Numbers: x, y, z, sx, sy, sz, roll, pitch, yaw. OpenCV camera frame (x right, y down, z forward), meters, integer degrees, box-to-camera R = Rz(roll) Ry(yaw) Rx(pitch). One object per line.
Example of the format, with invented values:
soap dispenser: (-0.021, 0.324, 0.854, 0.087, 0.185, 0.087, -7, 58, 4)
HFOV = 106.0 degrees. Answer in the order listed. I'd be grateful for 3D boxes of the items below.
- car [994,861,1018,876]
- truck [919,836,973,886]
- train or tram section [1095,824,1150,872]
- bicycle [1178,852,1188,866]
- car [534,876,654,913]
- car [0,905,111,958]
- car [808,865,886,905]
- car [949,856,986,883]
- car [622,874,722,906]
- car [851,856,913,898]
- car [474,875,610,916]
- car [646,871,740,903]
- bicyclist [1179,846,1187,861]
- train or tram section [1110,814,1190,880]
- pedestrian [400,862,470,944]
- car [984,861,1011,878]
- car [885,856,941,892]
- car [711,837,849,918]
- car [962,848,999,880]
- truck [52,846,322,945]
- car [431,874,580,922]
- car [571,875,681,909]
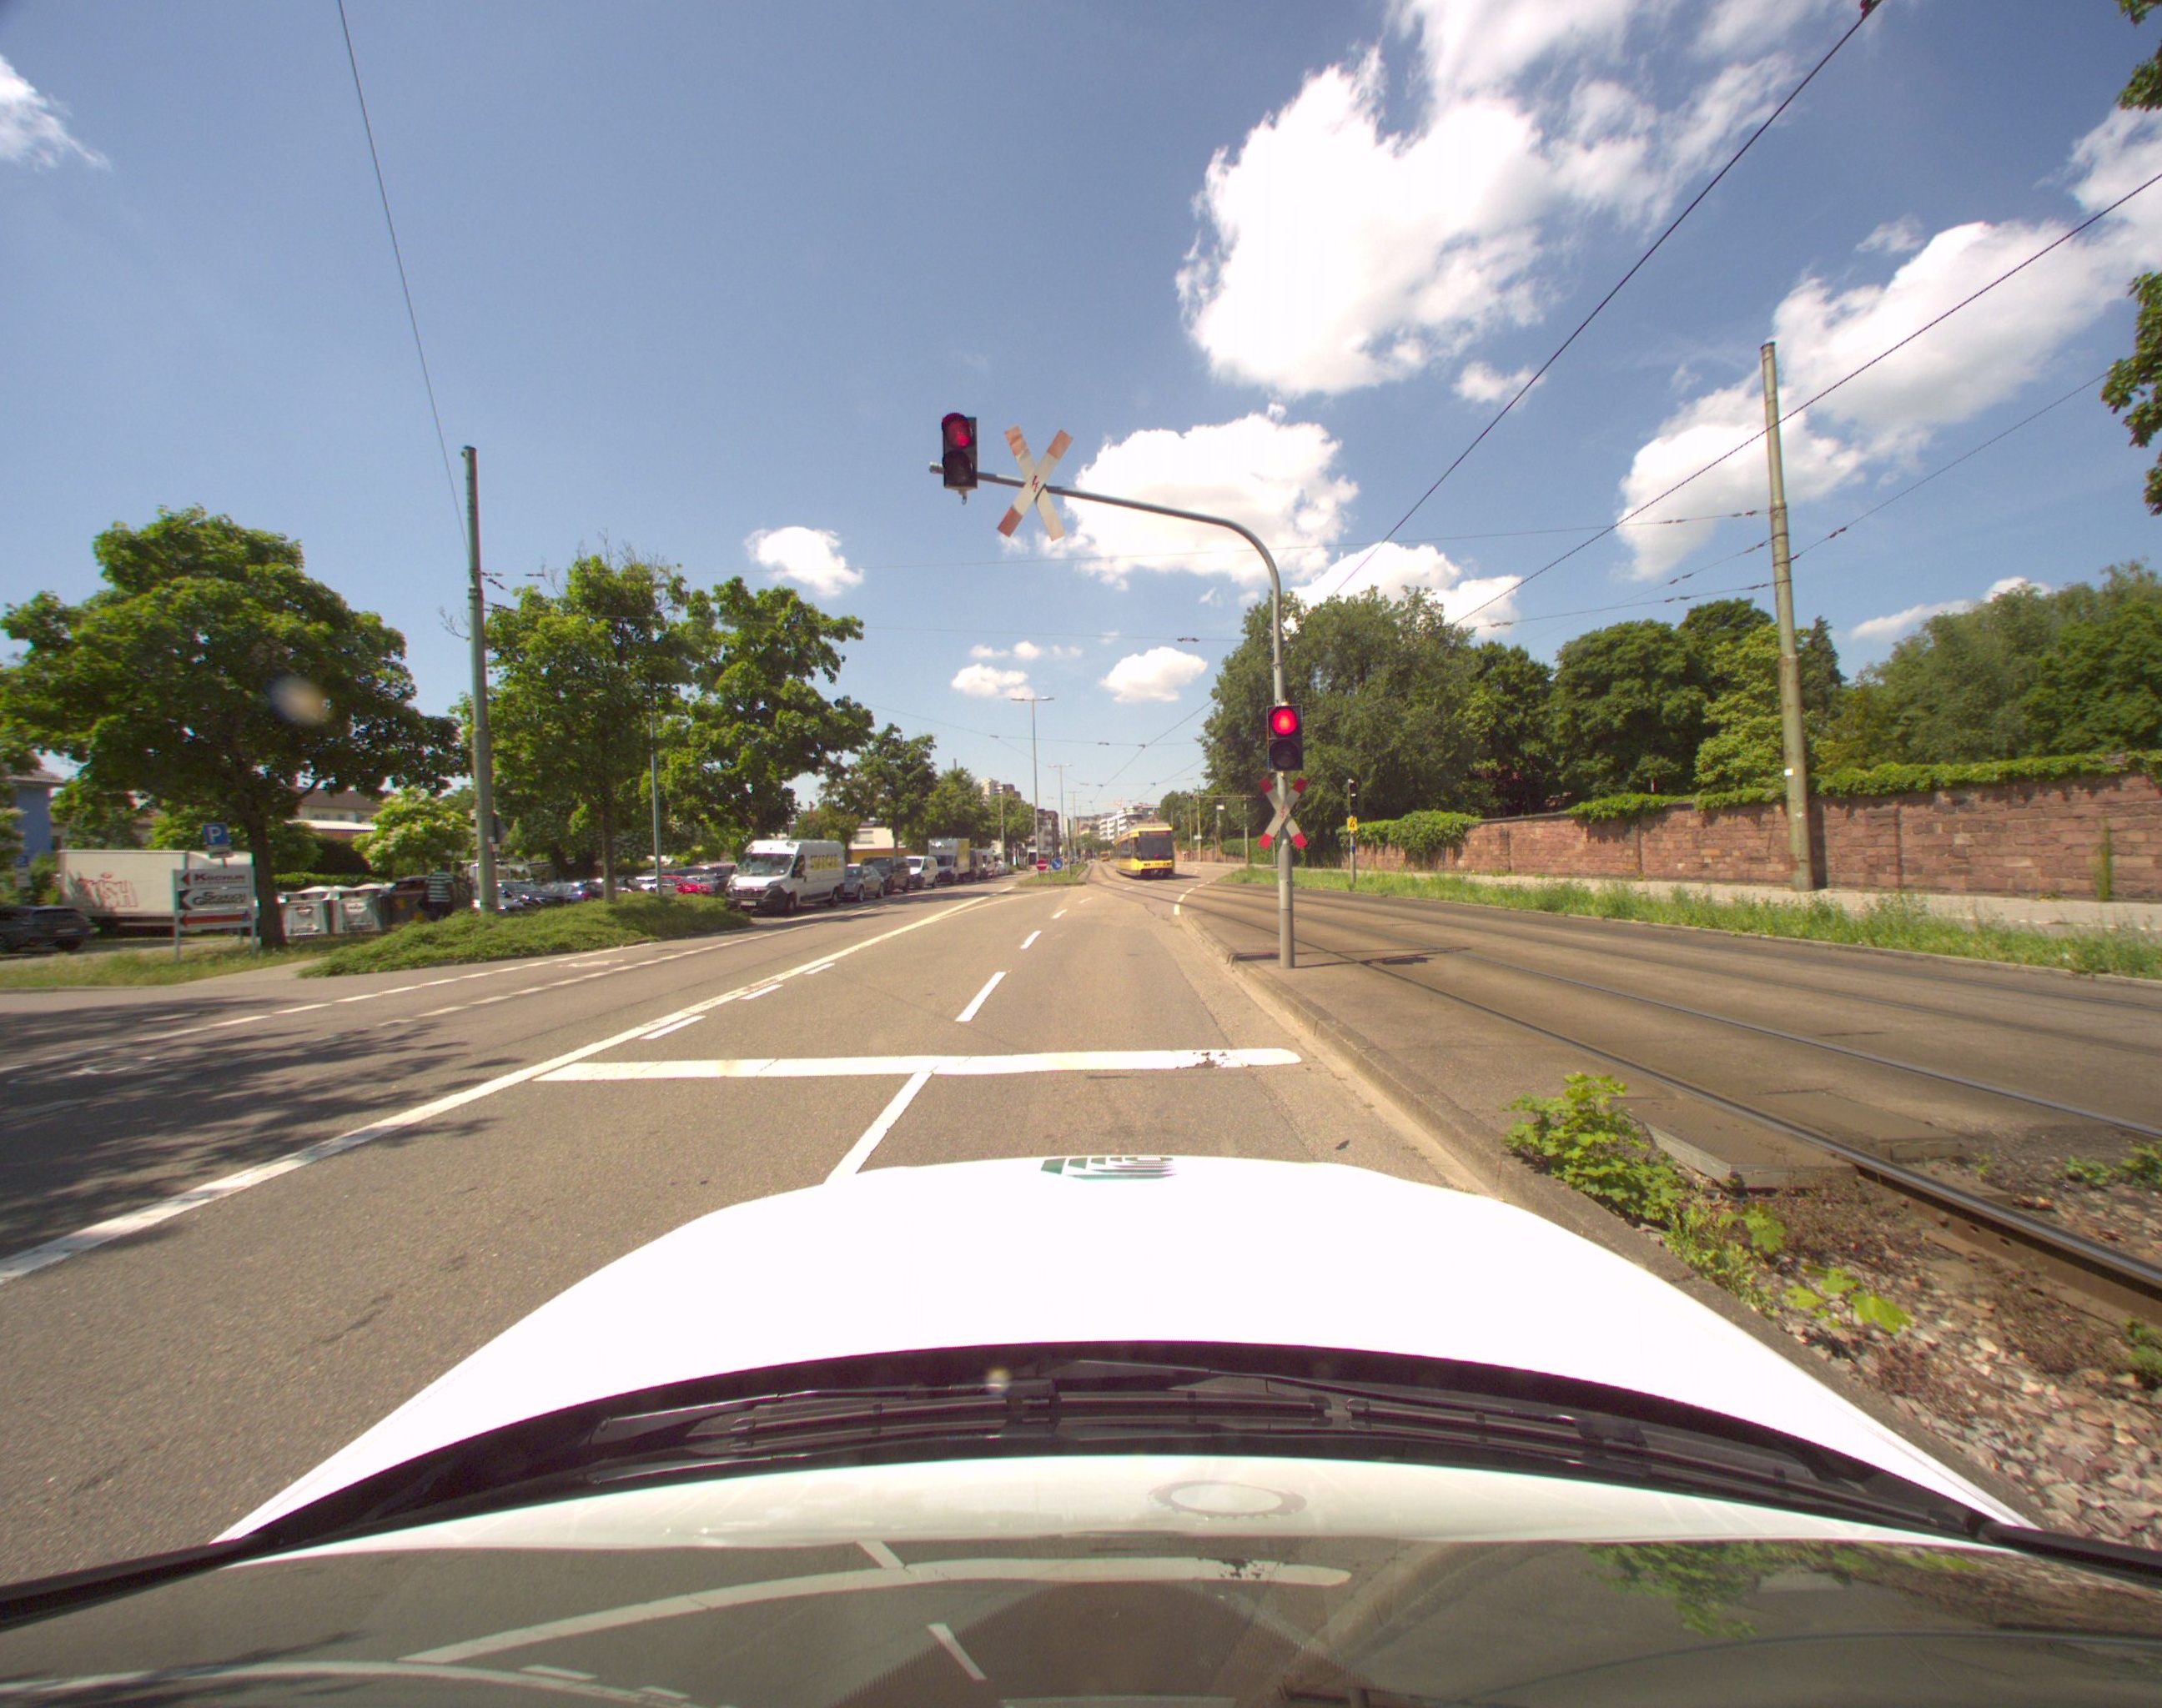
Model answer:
car: (-8.503, 1.641, 92.679, 2.053, 1.582, 4.873, -2, 0, 2)
truck: (-9.233, 0.420, 56.425, 2.147, 3.210, 7.088, 1, 0, 3)
train or tram section: (3.426, -0.476, 74.443, 2.937, 3.692, 20.261, -1, 0, -3)
bicycle: (14.810, 0.694, 118.152, 1.088, 1.908, 3.683, -2, 0, 2)
car: (-20.850, 1.712, 34.998, 3.974, 1.339, 1.805, -2, 0, -1)
car: (-32.380, 2.375, 24.557, 3.975, 1.399, 1.772, -3, 0, -1)
car: (-9.808, 1.246, 34.430, 1.862, 1.437, 4.344, -2, 0, 2)
car: (-8.850, 1.174, 63.880, 2.053, 1.977, 4.873, -2, 0, 2)
car: (-20.154, 1.743, 40.225, 3.974, 1.339, 1.805, -2, 0, -1)
car: (-9.931, 1.100, 40.884, 1.862, 1.895, 4.272, -2, 0, 2)
car: (-20.791, 1.589, 31.536, 3.974, 1.339, 1.805, -2, 0, -1)
car: (-20.338, 1.711, 42.780, 3.974, 1.442, 1.805, -3, 0, 0)
bicyclist: (14.806, -0.057, 118.166, 1.092, 2.108, 1.031, -1, -1, 1)
train or tram section: (4.216, -0.415, 55.252, 2.937, 3.692, 18.369, -1, 0, -3)
pedestrian: (-14.941, 1.113, 18.868, 0.976, 1.823, 0.790, -2, 0, -15)
car: (-8.721, 1.580, 85.485, 2.053, 1.582, 4.873, -2, 0, 2)
car: (-9.791, 1.104, 47.848, 2.053, 1.898, 4.873, -2, 0, 2)
car: (-10.201, 0.716, 28.305, 2.147, 2.487, 6.198, 1, 0, 3)
car: (-8.756, 0.854, 71.538, 2.147, 2.639, 5.616, 1, 0, 3)
truck: (-33.066, 1.492, 30.316, 7.167, 3.228, 2.331, -2, 0, -2)
car: (-20.489, 1.559, 29.109, 3.974, 1.442, 1.805, -2, 0, -1)
car: (-20.954, 1.729, 37.637, 3.974, 1.339, 1.805, -2, 0, -1)
